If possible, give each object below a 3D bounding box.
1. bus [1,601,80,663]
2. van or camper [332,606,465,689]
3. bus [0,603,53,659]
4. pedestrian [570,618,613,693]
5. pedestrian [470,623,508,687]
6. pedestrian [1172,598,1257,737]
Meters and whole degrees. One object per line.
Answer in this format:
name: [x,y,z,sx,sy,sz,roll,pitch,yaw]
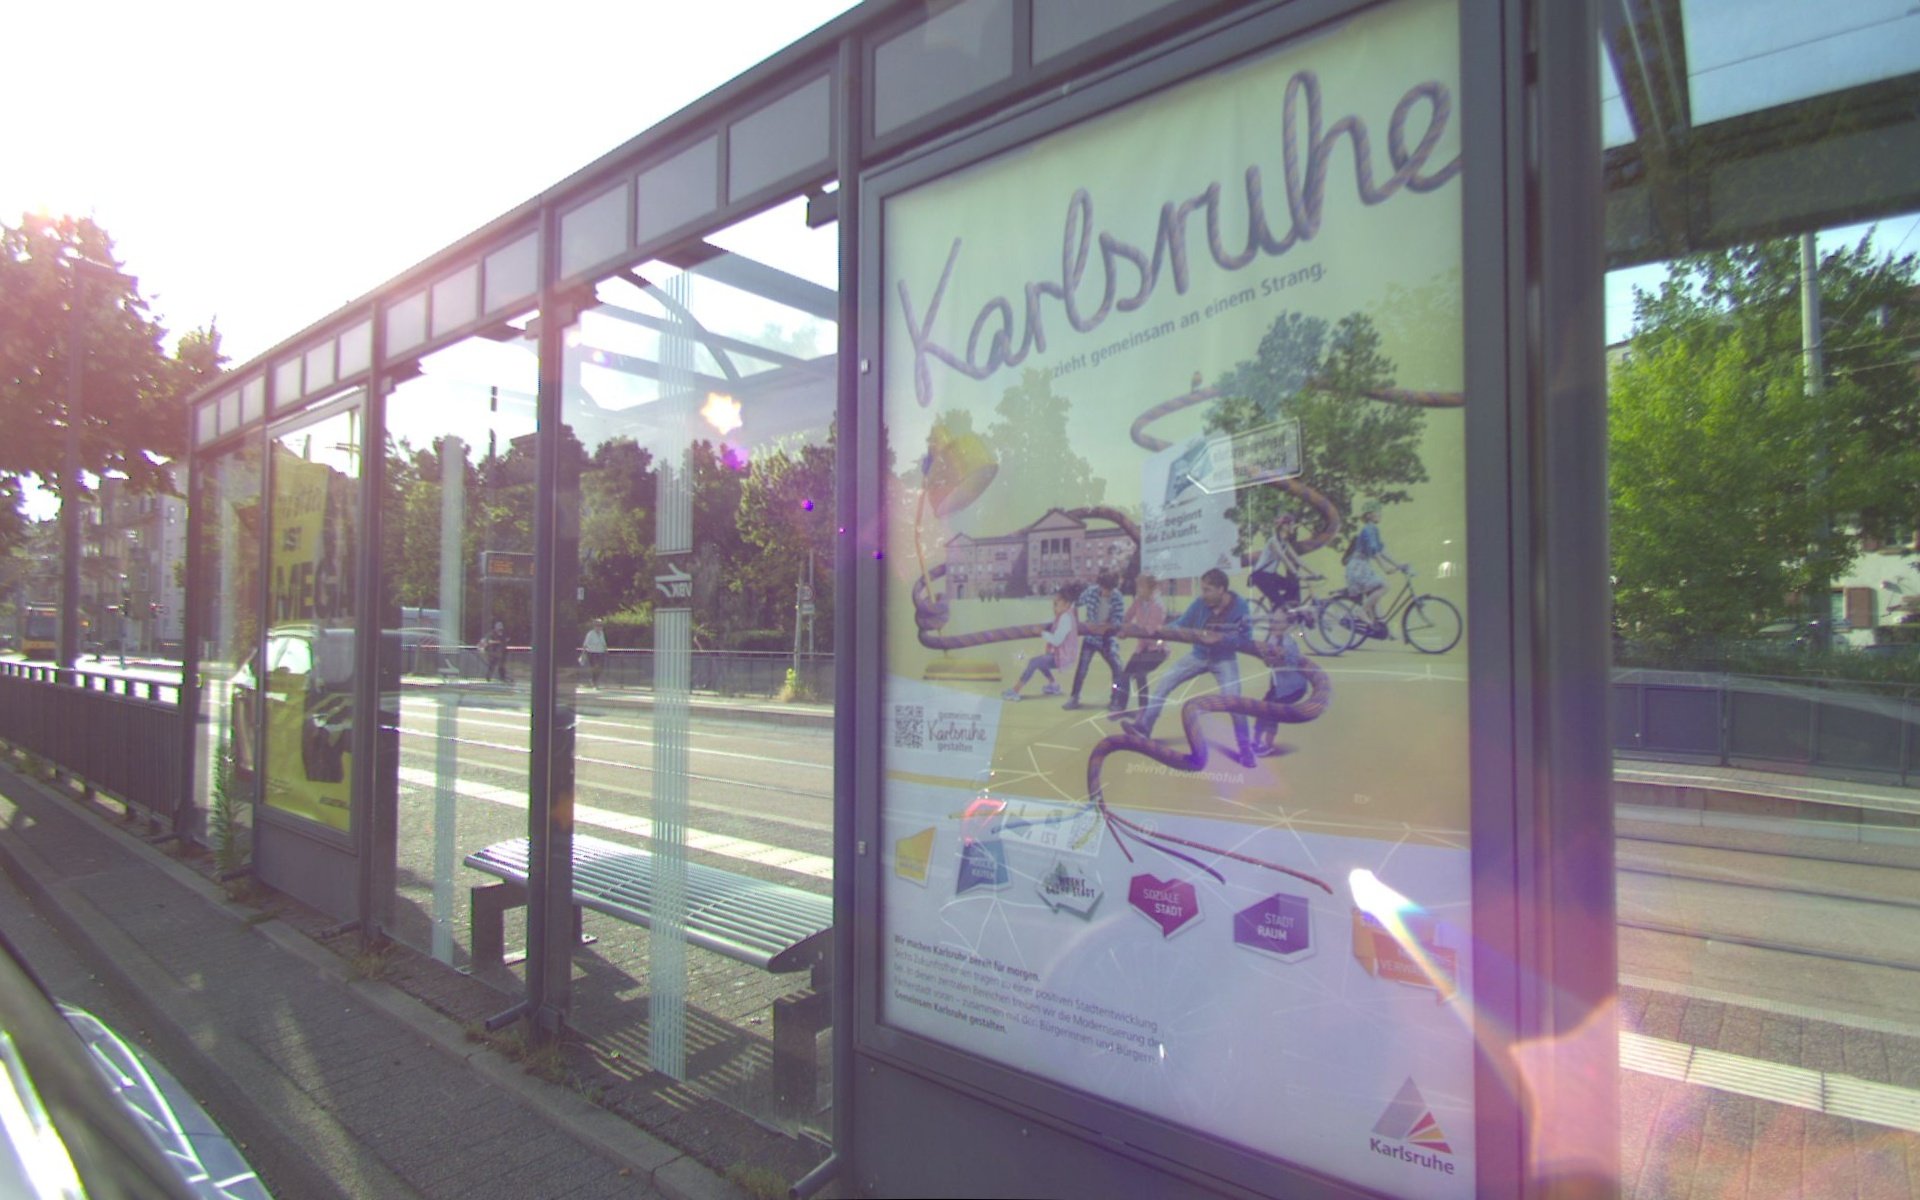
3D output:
bus: [-55.608,1.874,61.104,9.256,3.461,2.406,-1,0,41]
van or camper: [-22.127,1.778,39.735,6.407,2.990,2.495,-1,0,41]
bus: [-62.612,1.991,67.166,9.256,3.461,2.406,-1,0,41]
pedestrian: [-8.578,1.302,23.564,0.618,1.697,0.613,-2,-6,40]
pedestrian: [-12.787,1.493,27.476,0.618,1.697,0.613,-2,-6,40]
pedestrian: [3.249,0.861,12.930,0.877,1.697,0.547,-2,-6,41]
